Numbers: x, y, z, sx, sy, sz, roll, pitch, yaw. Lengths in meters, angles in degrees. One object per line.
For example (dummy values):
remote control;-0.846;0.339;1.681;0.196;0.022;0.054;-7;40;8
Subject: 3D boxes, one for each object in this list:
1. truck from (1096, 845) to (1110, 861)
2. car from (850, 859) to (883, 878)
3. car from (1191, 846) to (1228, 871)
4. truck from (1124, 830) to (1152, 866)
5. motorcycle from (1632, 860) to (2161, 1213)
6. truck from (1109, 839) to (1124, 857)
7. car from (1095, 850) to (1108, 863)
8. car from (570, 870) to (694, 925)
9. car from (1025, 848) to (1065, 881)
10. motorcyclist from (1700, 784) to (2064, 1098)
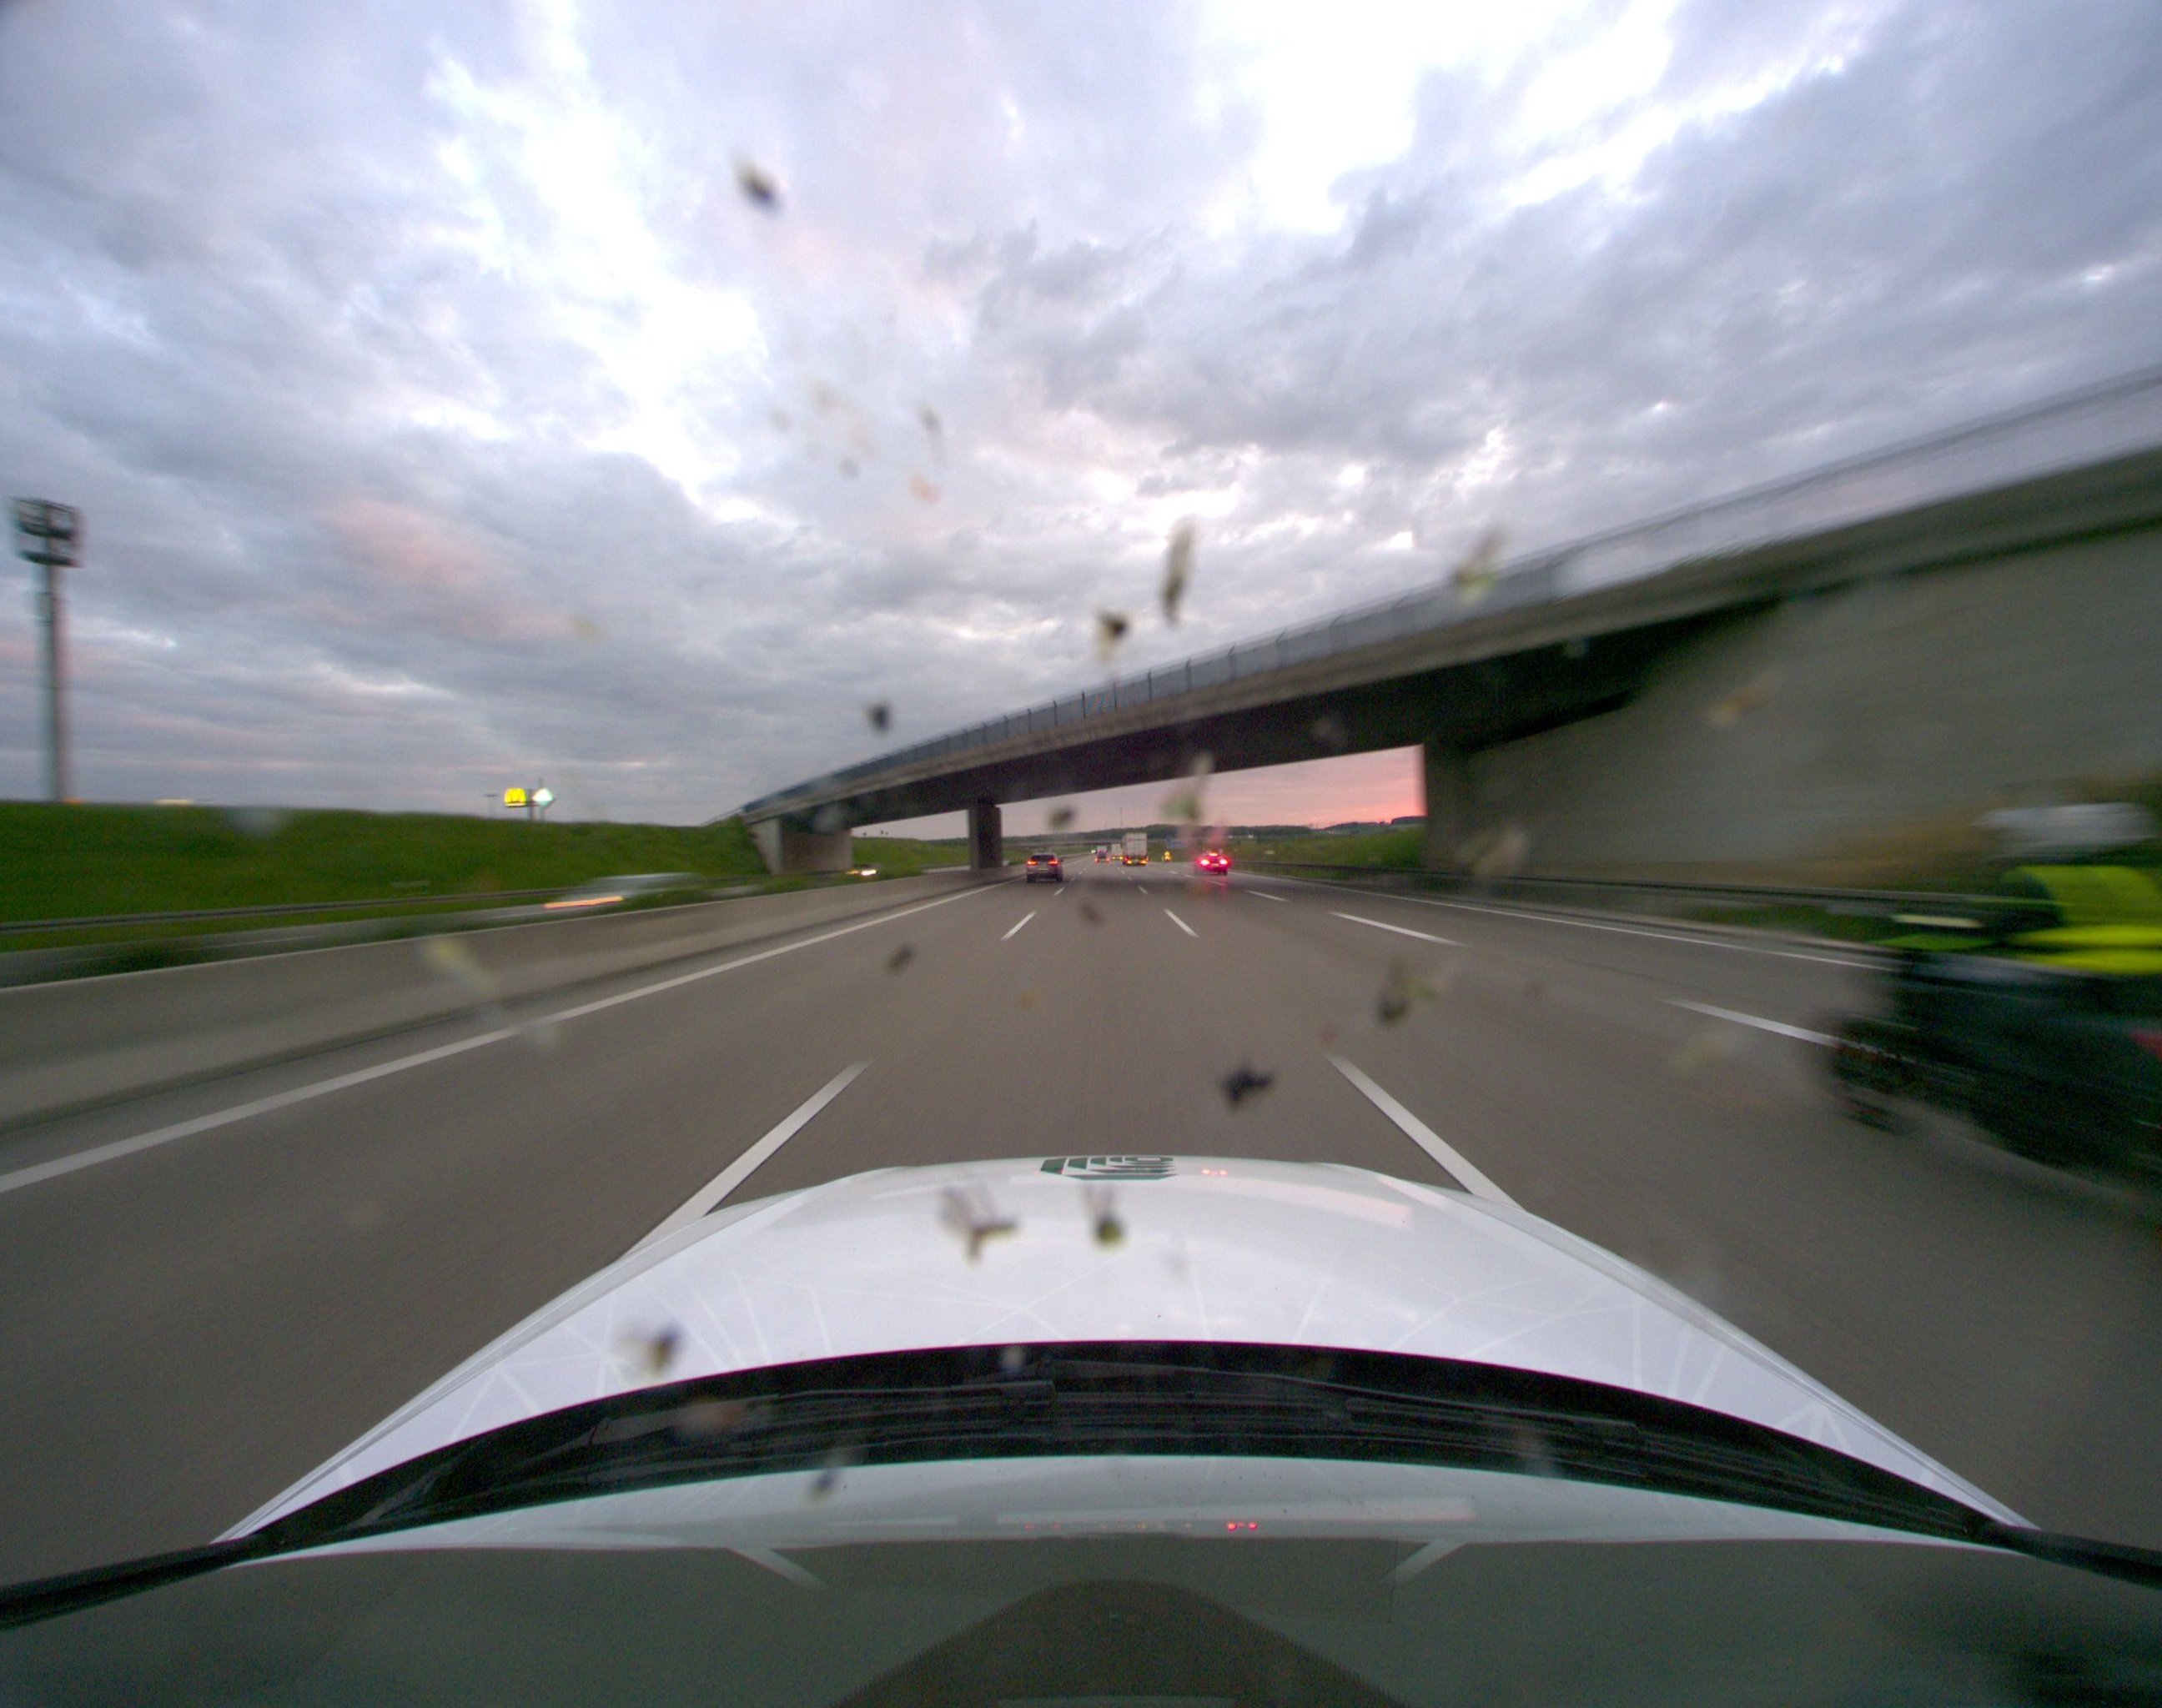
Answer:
truck;4.735;-0.211;175.486;2.941;3.217;8.407;0;1;1
car;-17.237;1.144;65.600;1.558;1.471;3.935;-2;0;-1
car;8.550;0.304;54.530;1.911;1.579;4.001;-2;0;1
truck;7.064;-0.753;102.058;3.221;4.227;9.603;0;1;2
motorcycle;4.231;0.746;4.451;0.898;1.346;2.350;-1;1;2
truck;8.753;-1.424;200.064;3.513;4.345;8.407;0;1;1
car;4.007;0.453;159.110;2.508;2.391;6.497;-2;0;1
car;-14.590;1.350;26.765;1.517;1.506;4.410;-2;0;1
car;-1.972;0.549;46.359;1.846;1.692;5.514;-1;0;2
motorcyclist;4.242;0.409;4.446;0.862;1.487;1.169;0;0;2
